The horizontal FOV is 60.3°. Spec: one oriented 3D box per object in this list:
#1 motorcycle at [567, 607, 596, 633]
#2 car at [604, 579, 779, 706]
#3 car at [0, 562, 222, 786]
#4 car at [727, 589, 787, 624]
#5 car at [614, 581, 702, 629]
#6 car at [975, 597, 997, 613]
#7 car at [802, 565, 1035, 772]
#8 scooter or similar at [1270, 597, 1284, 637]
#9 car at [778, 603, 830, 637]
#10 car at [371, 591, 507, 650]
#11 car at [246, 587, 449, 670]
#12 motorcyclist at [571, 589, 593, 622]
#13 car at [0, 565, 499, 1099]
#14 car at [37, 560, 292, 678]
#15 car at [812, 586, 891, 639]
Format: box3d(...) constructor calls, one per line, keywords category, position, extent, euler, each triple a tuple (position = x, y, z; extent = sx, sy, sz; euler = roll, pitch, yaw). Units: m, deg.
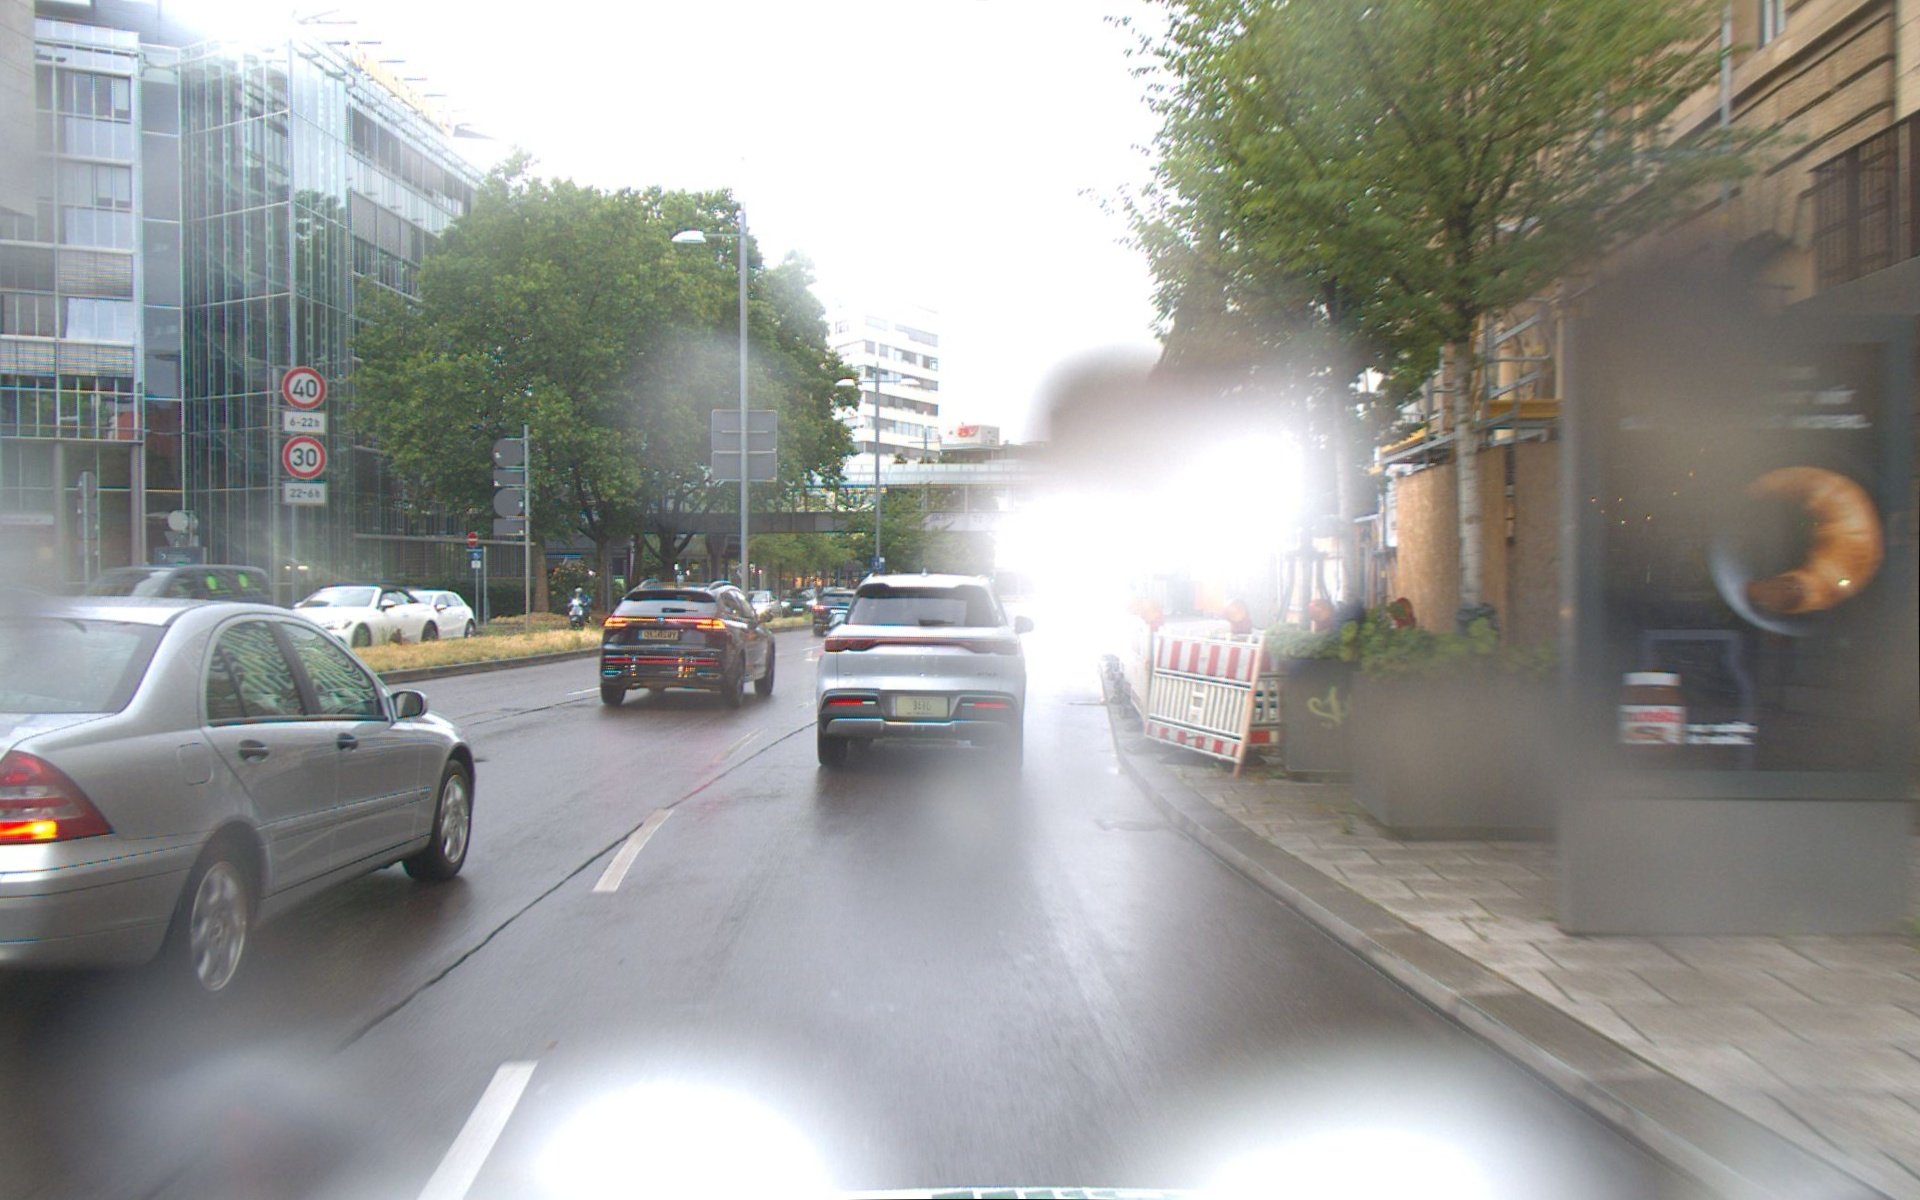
box3d(category="motorcycle", position=(-14.577, 0.776, 63.753), extent=(0.679, 0.987, 1.397), euler=(1, 0, 6))
box3d(category="car", position=(-3.370, 0.520, 21.420), extent=(1.738, 1.482, 3.998), euler=(0, -1, -2))
box3d(category="car", position=(-7.384, 0.510, 11.657), extent=(1.833, 1.504, 4.882), euler=(-1, 1, 5))
box3d(category="car", position=(-8.326, 0.288, 68.103), extent=(1.563, 1.384, 4.119), euler=(0, -1, 6))
box3d(category="car", position=(-9.709, 0.178, 53.504), extent=(1.664, 1.462, 4.584), euler=(0, -1, 5))
box3d(category="car", position=(2.400, 0.459, 149.662), extent=(1.618, 1.365, 4.003), euler=(1, 0, 6))
box3d(category="car", position=(-0.255, 0.555, 15.275), extent=(1.861, 1.650, 4.001), euler=(0, 0, 2))
box3d(category="scooter or similar", position=(10.243, 0.536, 53.388), extent=(0.403, 1.258, 1.190), euler=(1, 0, 13))
box3d(category="car", position=(-7.854, 1.008, 83.678), extent=(1.834, 1.710, 4.683), euler=(0, -1, 4))
box3d(category="car", position=(-13.572, 0.528, 43.386), extent=(1.690, 1.458, 4.399), euler=(0, -1, 8))
box3d(category="car", position=(-11.549, 0.518, 31.528), extent=(1.820, 1.467, 4.316), euler=(0, -1, 7))
box3d(category="motorcyclist", position=(-14.566, 0.204, 63.778), extent=(0.660, 1.260, 0.620), euler=(1, 0, 5))
box3d(category="car", position=(-3.343, 0.659, 6.843), extent=(1.638, 1.505, 4.360), euler=(0, 0, 0))
box3d(category="car", position=(-14.721, 0.351, 30.997), extent=(1.792, 2.037, 5.108), euler=(0, -1, 8))
box3d(category="car", position=(-3.399, 0.367, 52.534), extent=(1.773, 1.606, 4.003), euler=(1, 0, 7))
